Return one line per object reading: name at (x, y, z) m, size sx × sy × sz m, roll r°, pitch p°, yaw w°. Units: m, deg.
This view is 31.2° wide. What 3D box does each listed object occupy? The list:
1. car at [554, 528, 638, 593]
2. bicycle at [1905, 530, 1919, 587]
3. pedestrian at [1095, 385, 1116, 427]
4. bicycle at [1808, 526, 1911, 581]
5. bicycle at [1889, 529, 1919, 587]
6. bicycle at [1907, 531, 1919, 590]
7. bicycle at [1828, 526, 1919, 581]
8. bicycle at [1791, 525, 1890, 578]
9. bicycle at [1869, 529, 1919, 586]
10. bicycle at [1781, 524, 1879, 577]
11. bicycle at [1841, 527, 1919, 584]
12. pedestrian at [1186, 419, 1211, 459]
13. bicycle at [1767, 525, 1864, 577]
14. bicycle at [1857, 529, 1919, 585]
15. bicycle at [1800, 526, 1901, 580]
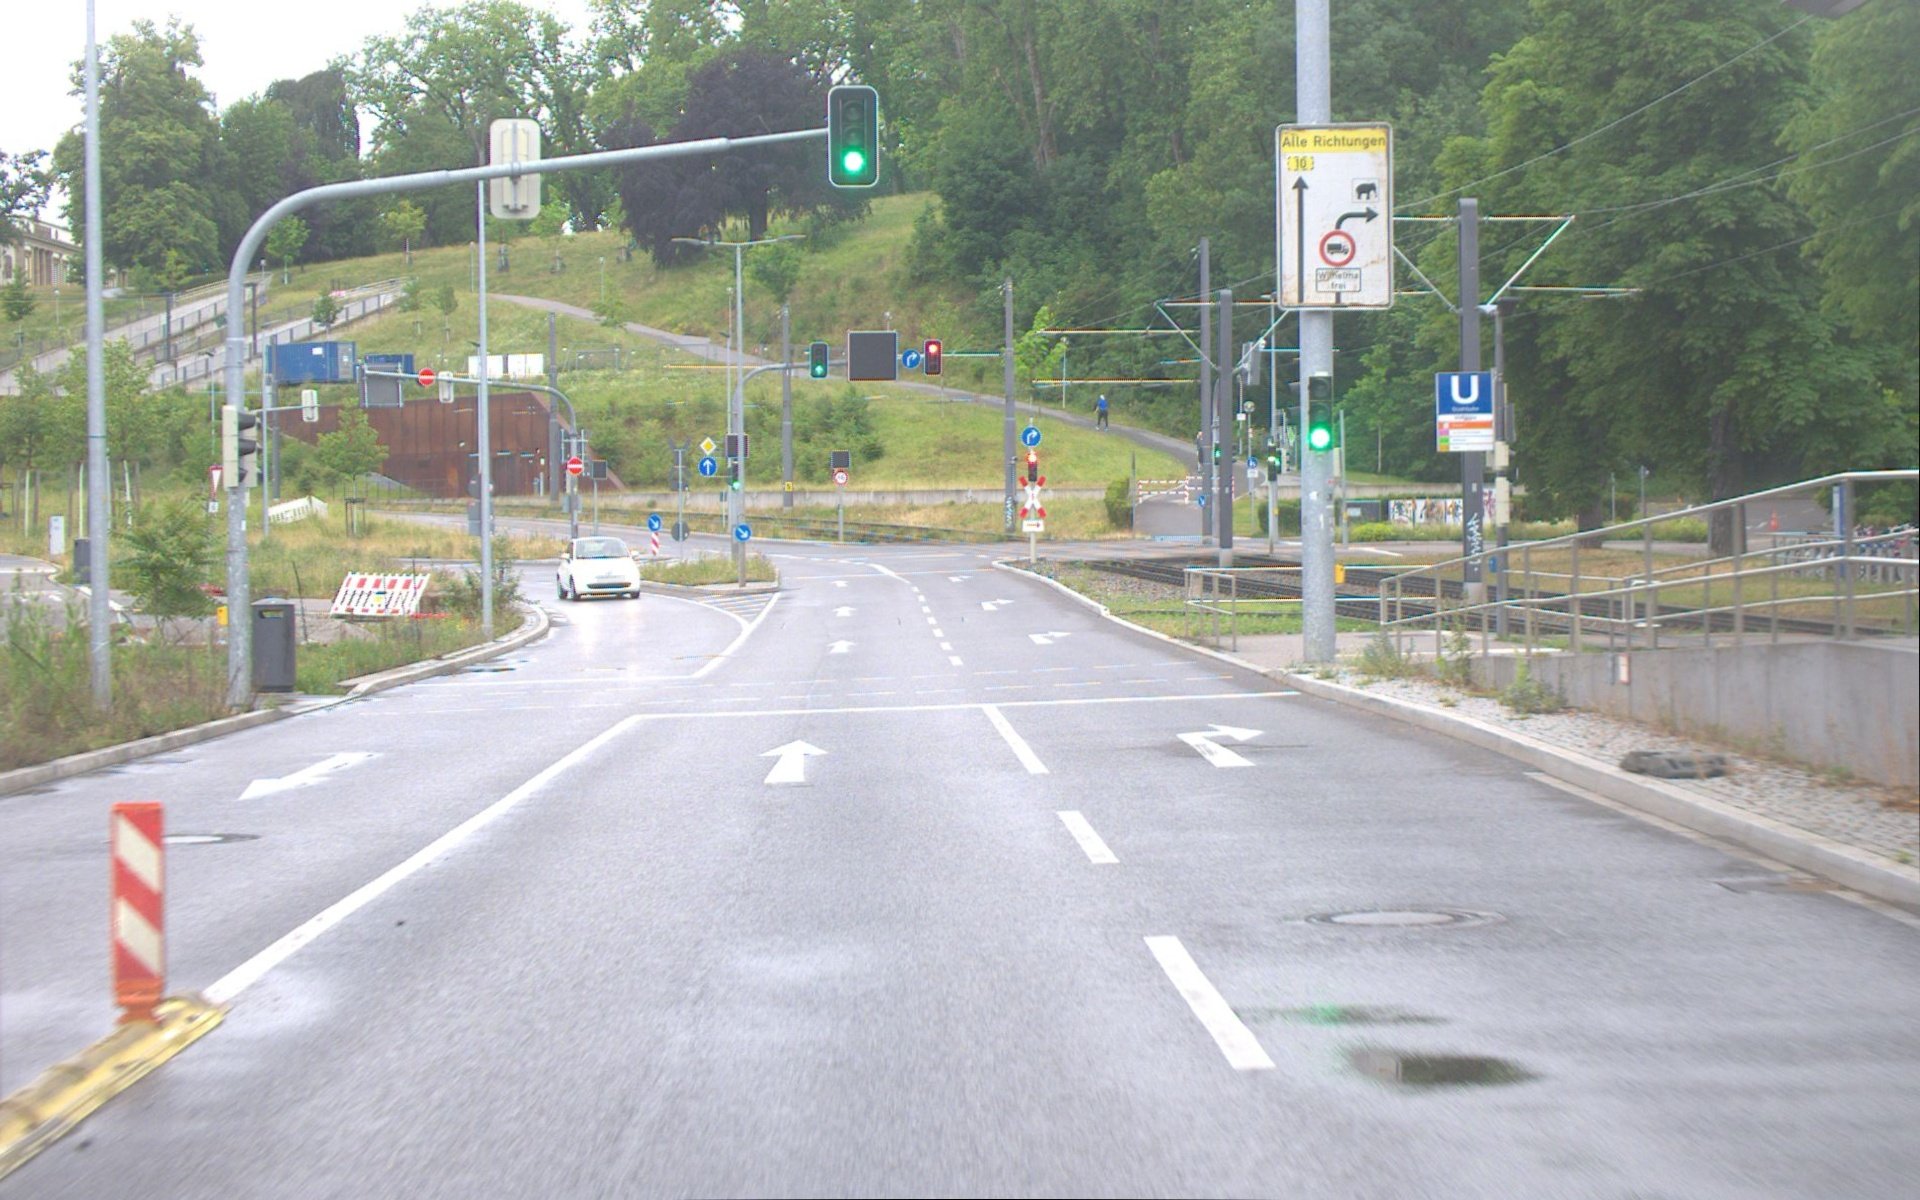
car at (-8.806, -0.949, 82.980) m, size 1.586 × 1.486 × 3.715 m, roll -2°, pitch 1°, yaw -12°
bicycle at (18.087, -0.771, 62.144) m, size 1.810 × 1.028 × 0.653 m, roll -1°, pitch 2°, yaw -3°
pedestrian at (7.258, -9.710, 171.645) m, size 0.788 × 2.006 × 0.657 m, roll -5°, pitch 8°, yaw -17°
bicycle at (17.680, -0.917, 67.602) m, size 1.834 × 1.028 × 0.653 m, roll -1°, pitch 2°, yaw -3°
bicycle at (18.033, -0.791, 63.006) m, size 1.810 × 1.028 × 0.653 m, roll -1°, pitch 2°, yaw -3°
bicycle at (18.080, -0.730, 61.236) m, size 2.222 × 1.028 × 0.689 m, roll -1°, pitch 2°, yaw -3°
bicycle at (17.892, -0.906, 66.913) m, size 1.810 × 1.028 × 0.653 m, roll -1°, pitch 2°, yaw -3°
bicycle at (17.709, -0.978, 69.171) m, size 1.810 × 1.028 × 0.653 m, roll -1°, pitch 2°, yaw -3°
bicycle at (17.912, -0.809, 63.871) m, size 1.846 × 1.028 × 0.653 m, roll -1°, pitch 2°, yaw -3°
bicycle at (17.718, -1.012, 70.057) m, size 1.810 × 1.028 × 0.653 m, roll -1°, pitch 2°, yaw -3°
bicycle at (17.750, -0.856, 65.393) m, size 1.810 × 1.031 × 0.653 m, roll -1°, pitch 2°, yaw -3°
pedestrian at (10.723, -7.239, 154.397) m, size 0.957 × 1.775 × 1.123 m, roll 1°, pitch 3°, yaw -3°
bicycle at (17.645, -1.019, 70.938) m, size 1.810 × 1.028 × 0.653 m, roll -1°, pitch 2°, yaw -3°
bicycle at (17.884, -0.820, 64.670) m, size 1.810 × 1.028 × 0.653 m, roll -1°, pitch 2°, yaw -3°
bicycle at (17.686, -0.931, 68.267) m, size 1.810 × 1.028 × 0.653 m, roll -1°, pitch 2°, yaw -3°
